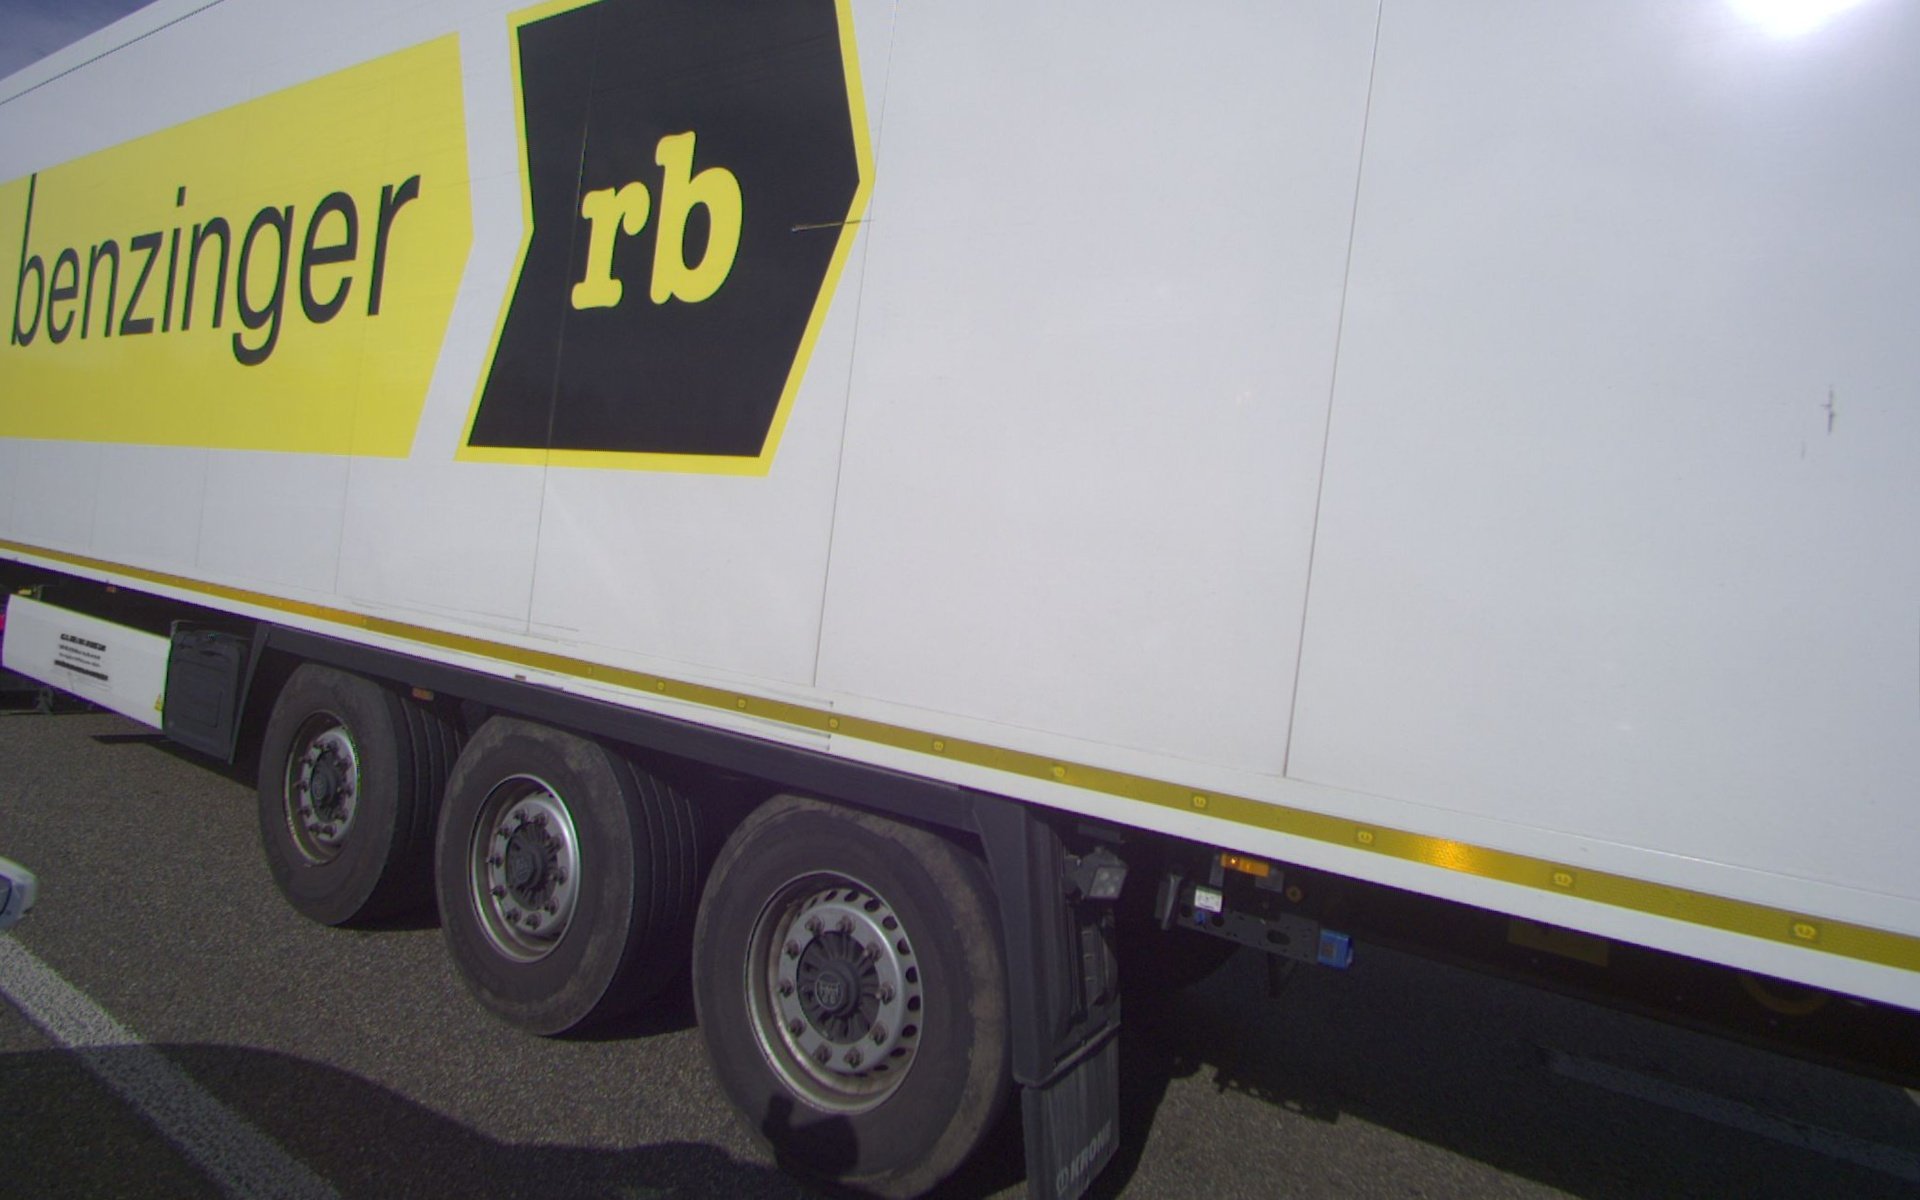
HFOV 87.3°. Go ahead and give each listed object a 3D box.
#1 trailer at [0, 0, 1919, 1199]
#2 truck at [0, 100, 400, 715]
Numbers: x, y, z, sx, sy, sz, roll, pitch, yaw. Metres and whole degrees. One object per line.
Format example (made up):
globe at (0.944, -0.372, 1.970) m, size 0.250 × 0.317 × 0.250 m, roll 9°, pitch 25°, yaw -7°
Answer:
trailer at (-2.230, -0.785, 5.265) m, size 12.853 × 3.985 × 2.796 m, roll 6°, pitch -1°, yaw 32°
truck at (-8.230, -1.398, 9.001) m, size 5.729 × 3.985 × 2.807 m, roll 7°, pitch -1°, yaw 32°
